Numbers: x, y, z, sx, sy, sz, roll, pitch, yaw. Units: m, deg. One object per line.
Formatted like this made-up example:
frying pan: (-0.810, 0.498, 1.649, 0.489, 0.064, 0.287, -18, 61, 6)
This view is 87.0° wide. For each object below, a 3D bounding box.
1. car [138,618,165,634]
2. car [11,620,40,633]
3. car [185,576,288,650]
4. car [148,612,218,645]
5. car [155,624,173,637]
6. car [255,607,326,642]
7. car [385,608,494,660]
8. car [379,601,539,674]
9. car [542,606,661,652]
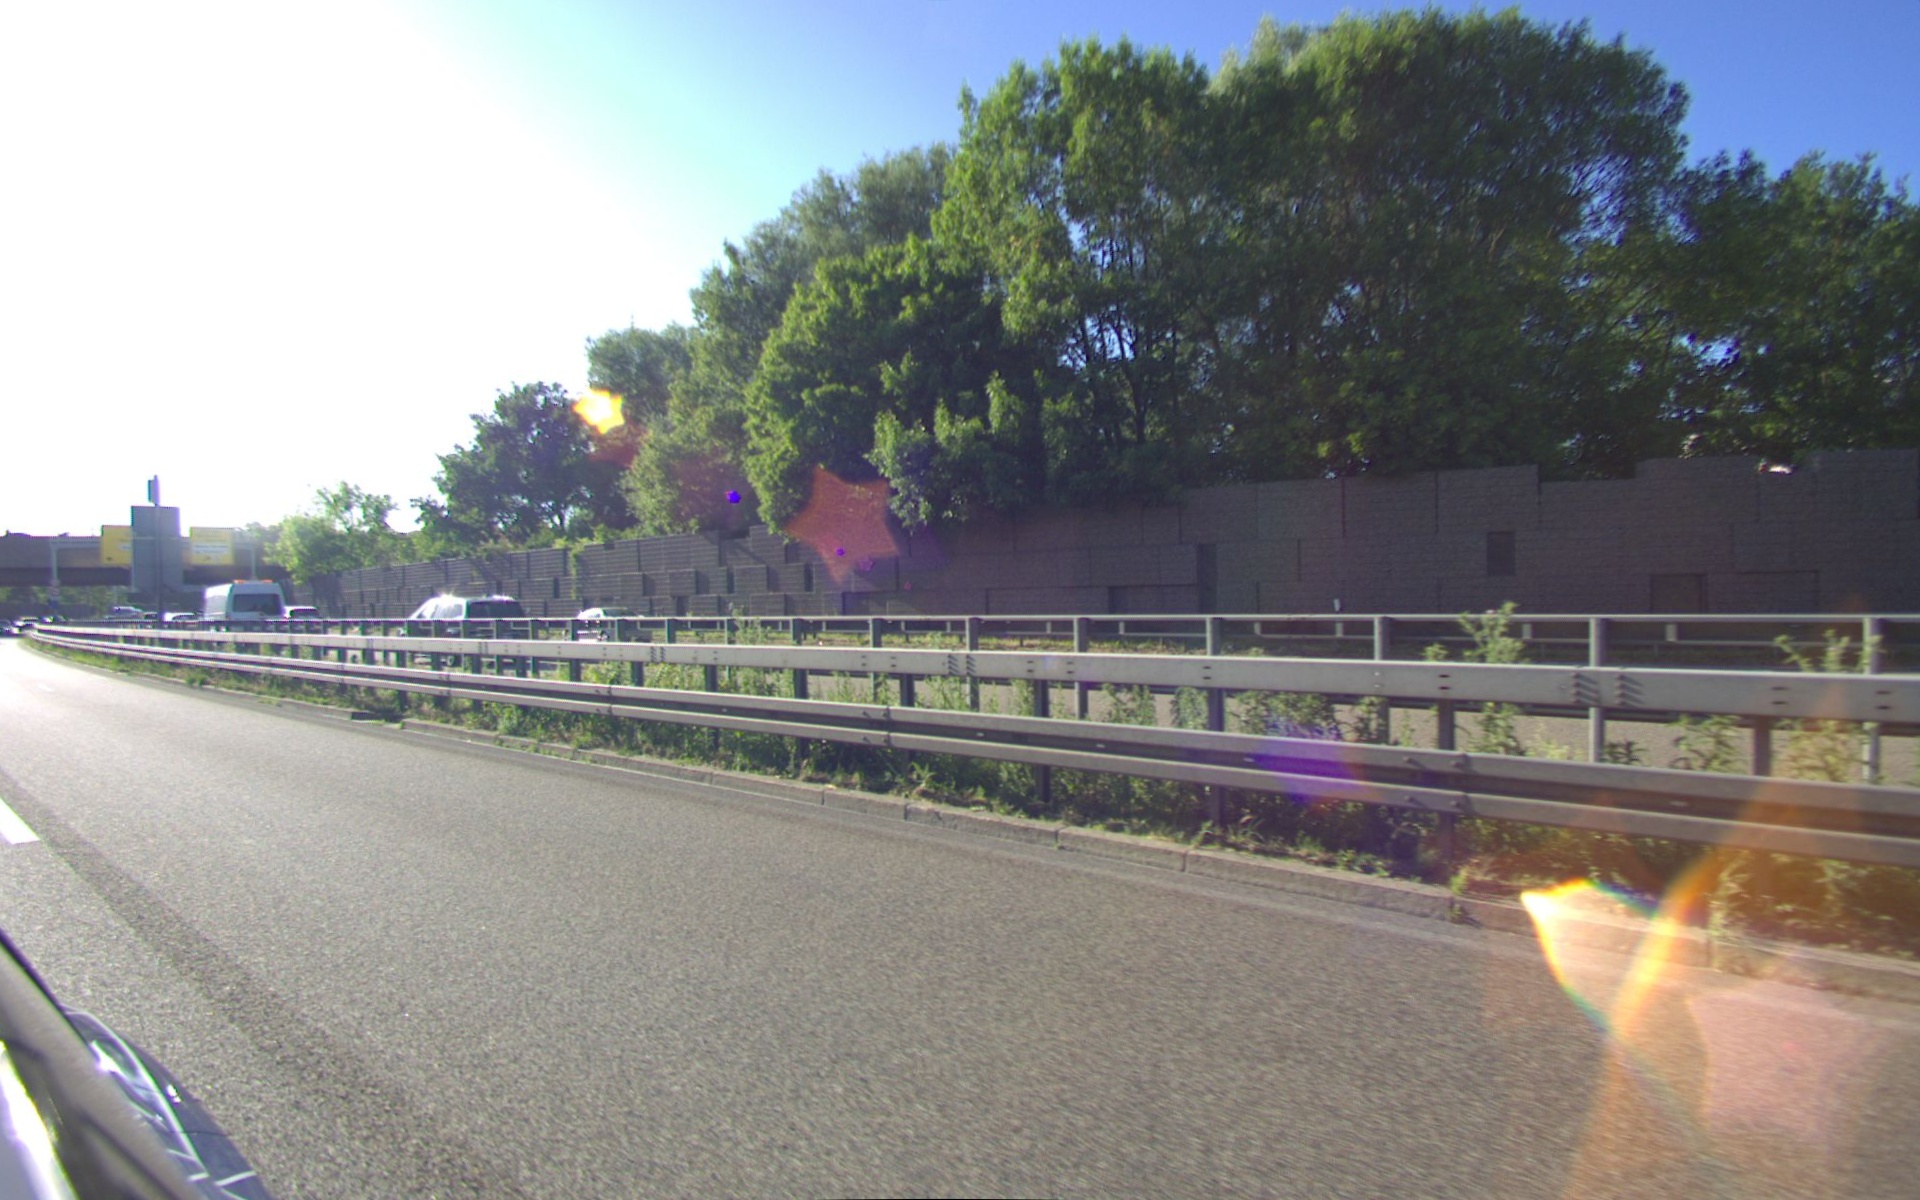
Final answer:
car: (-91.777, 2.974, 114.872, 1.876, 1.585, 4.812, -4, 1, -43)
car: (-105.480, 3.000, 114.251, 1.968, 1.425, 4.840, -2, 0, -38)
car: (-29.283, 0.572, 40.853, 6.589, 2.703, 2.098, -2, 1, 44)
car: (-38.679, 1.425, 50.345, 5.090, 1.445, 1.972, -2, 1, 44)
car: (-106.544, 4.042, 135.446, 1.528, 1.585, 4.399, -4, 1, -43)
car: (-34.030, 1.269, 51.369, 4.622, 1.608, 1.972, -2, 1, 44)
car: (-18.660, 1.209, 36.187, 4.695, 1.632, 1.882, -2, 1, 42)
car: (-12.107, 0.887, 24.332, 4.245, 1.591, 1.973, -3, -2, 41)
car: (-12.284, 0.998, 34.583, 4.025, 1.398, 1.974, -2, 1, 39)
